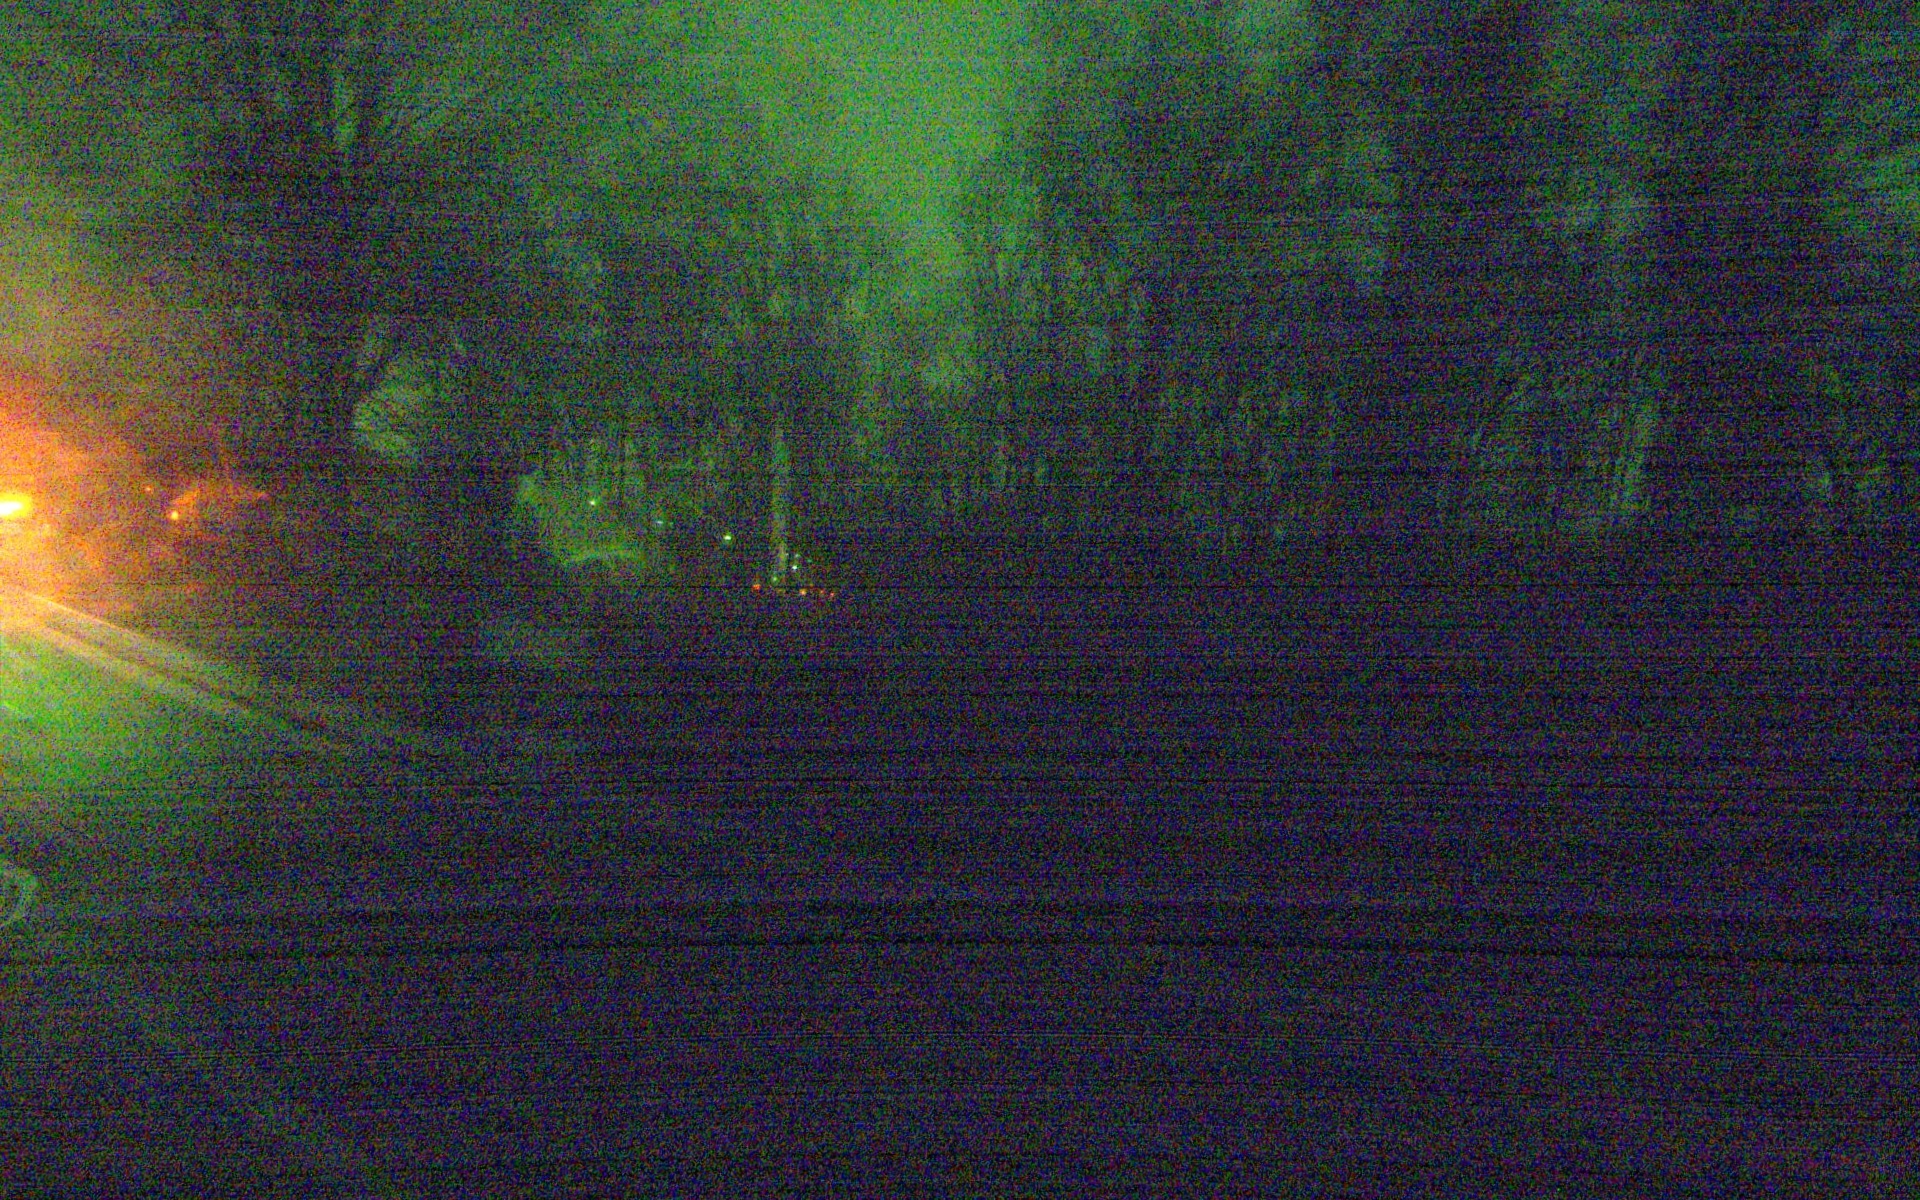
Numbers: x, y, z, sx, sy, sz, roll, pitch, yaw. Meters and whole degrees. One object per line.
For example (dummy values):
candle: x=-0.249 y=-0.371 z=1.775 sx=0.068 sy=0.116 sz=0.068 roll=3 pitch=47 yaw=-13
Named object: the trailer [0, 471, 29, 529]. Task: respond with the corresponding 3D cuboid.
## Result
trailer: x=-39.600 y=-4.047 z=41.202 sx=2.070 sy=2.039 sz=10.520 roll=4 pitch=0 yaw=-43
